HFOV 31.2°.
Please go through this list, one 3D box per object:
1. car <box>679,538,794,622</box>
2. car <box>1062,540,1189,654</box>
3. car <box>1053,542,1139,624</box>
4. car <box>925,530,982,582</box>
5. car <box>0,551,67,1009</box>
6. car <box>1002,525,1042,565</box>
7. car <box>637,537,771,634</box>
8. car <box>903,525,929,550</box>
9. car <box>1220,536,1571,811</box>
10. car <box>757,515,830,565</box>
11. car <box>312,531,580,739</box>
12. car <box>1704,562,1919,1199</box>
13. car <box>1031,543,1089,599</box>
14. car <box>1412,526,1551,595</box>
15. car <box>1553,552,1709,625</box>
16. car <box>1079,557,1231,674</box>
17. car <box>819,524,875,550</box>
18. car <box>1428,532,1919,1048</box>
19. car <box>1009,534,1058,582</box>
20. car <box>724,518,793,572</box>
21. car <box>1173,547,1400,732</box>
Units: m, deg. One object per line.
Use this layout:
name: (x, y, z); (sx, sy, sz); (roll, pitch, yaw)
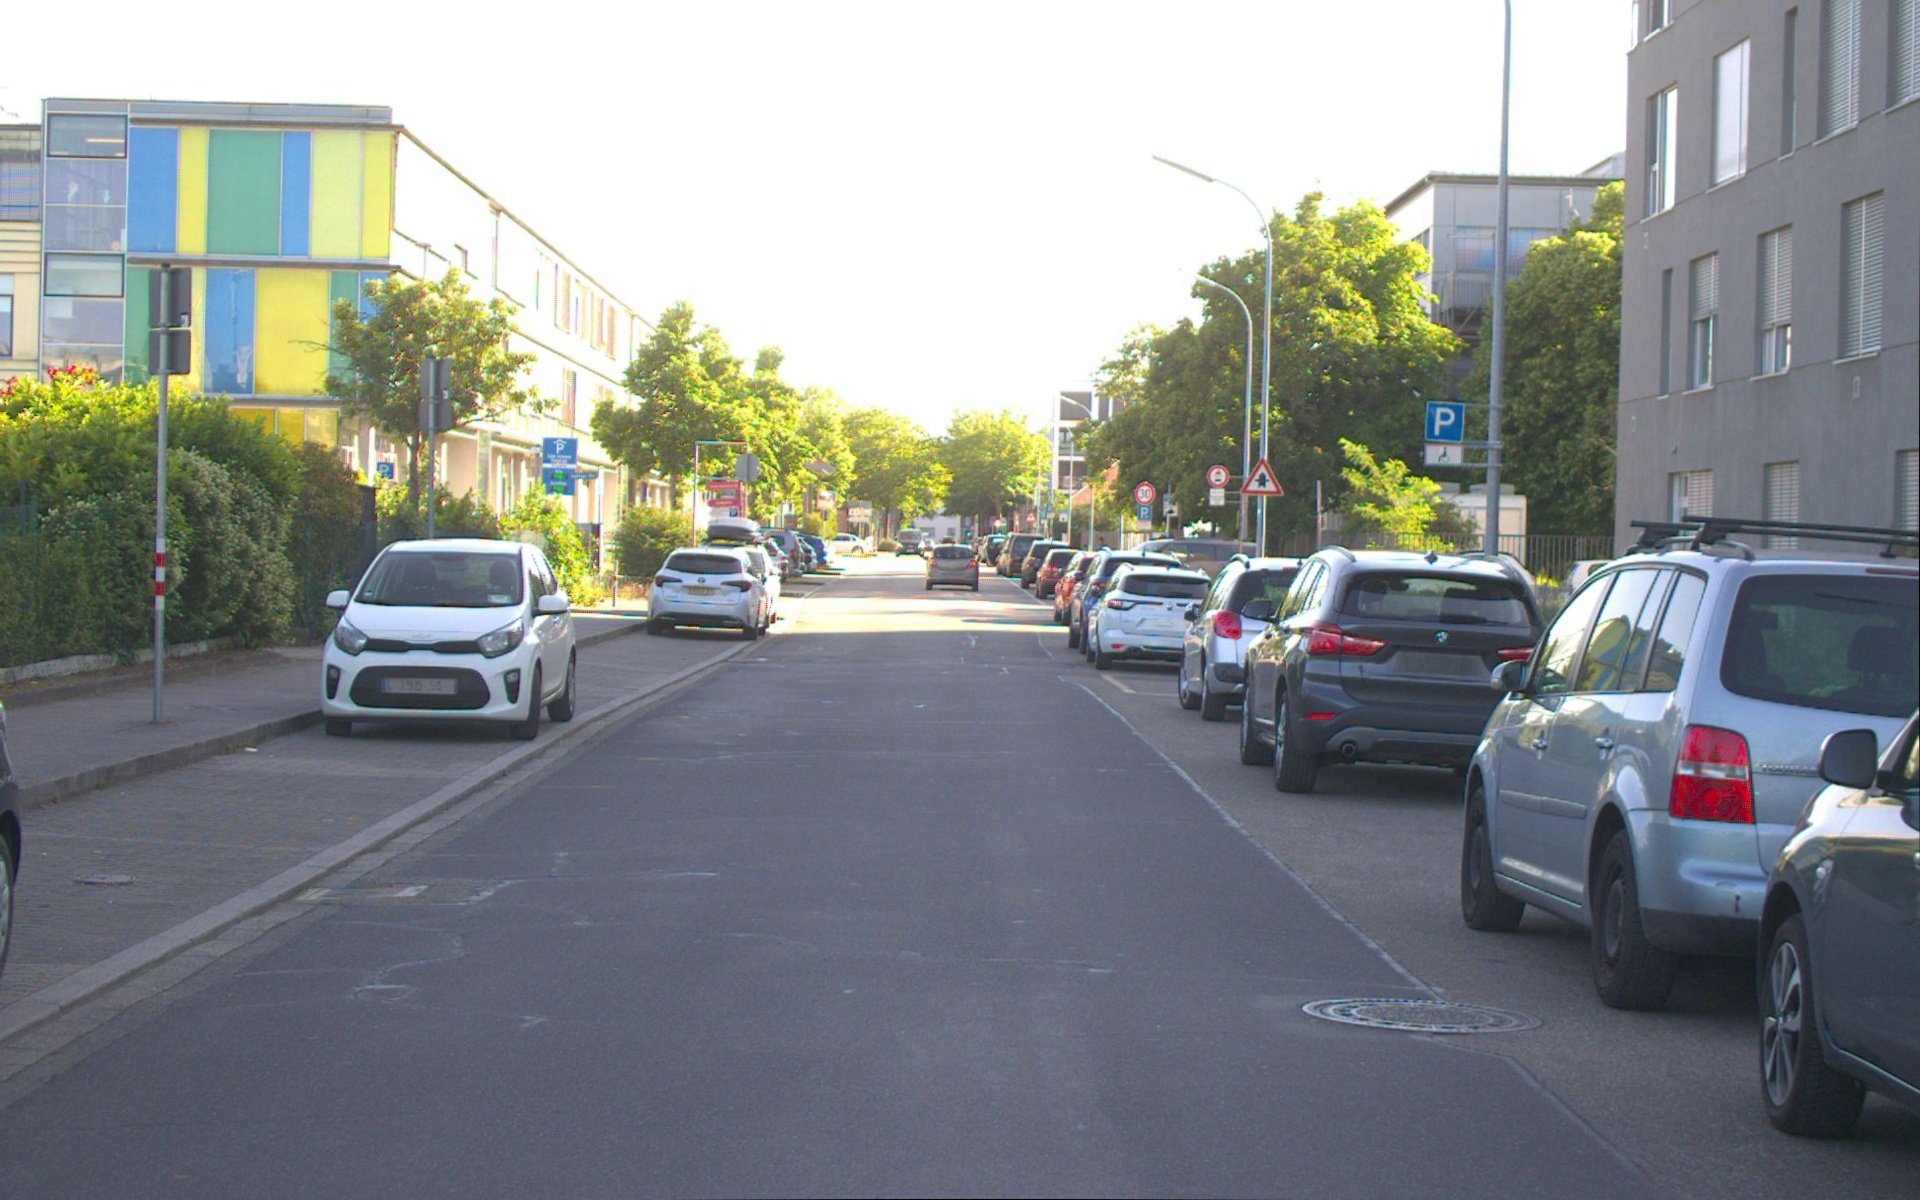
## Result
car: (-4.150, -0.405, 64.347); (1.854, 1.423, 4.134); (3, 1, -1)
car: (2.542, -0.070, 53.435); (1.632, 1.625, 3.614); (3, 1, -1)
car: (2.729, -0.364, 69.658); (1.445, 1.544, 3.614); (3, 1, -1)
car: (-0.217, -1.411, 110.384); (1.689, 1.544, 3.614); (3, 1, -1)
car: (-3.860, 0.565, 9.953); (1.559, 1.489, 3.571); (4, 1, -1)
car: (2.573, -2.296, 143.457); (1.445, 1.544, 3.614); (3, 1, -1)
car: (-4.149, -0.266, 56.350); (1.854, 1.423, 4.134); (3, 1, -1)
car: (-2.985, -4.232, 233.087); (1.664, 1.544, 3.902); (3, 1, -1)
car: (2.868, 0.424, 23.488); (1.742, 1.619, 4.179); (3, 1, -1)
car: (-5.575, -2.006, 115.622); (1.855, 1.558, 4.133); (3, 1, 4)
car: (-3.963, 0.228, 26.996); (1.559, 1.489, 3.759); (1, 1, -1)
car: (3.016, 0.733, 8.085); (1.622, 1.521, 3.901); (4, 1, 1)
car: (2.959, -0.878, 102.057); (1.445, 1.544, 3.614); (3, 1, -1)
car: (13.061, -0.999, 86.200); (3.216, 1.544, 1.450); (3, 1, 3)
car: (15.171, -0.270, 77.818); (3.216, 1.455, 1.450); (3, 1, 3)
car: (2.644, 0.174, 47.335); (1.742, 1.423, 4.134); (3, 1, -1)
car: (-7.625, -4.221, 230.902); (3.601, 1.544, 1.450); (3, 1, -5)
car: (3.008, 0.601, 13.156); (1.676, 1.603, 4.179); (4, 1, -1)
car: (2.497, -1.451, 118.056); (1.445, 1.544, 3.614); (3, 1, -1)
car: (-6.274, -1.730, 107.267); (1.854, 1.558, 4.134); (3, 1, -1)
car: (3.020, 0.322, 32.483); (1.657, 1.546, 3.851); (3, 1, -1)
